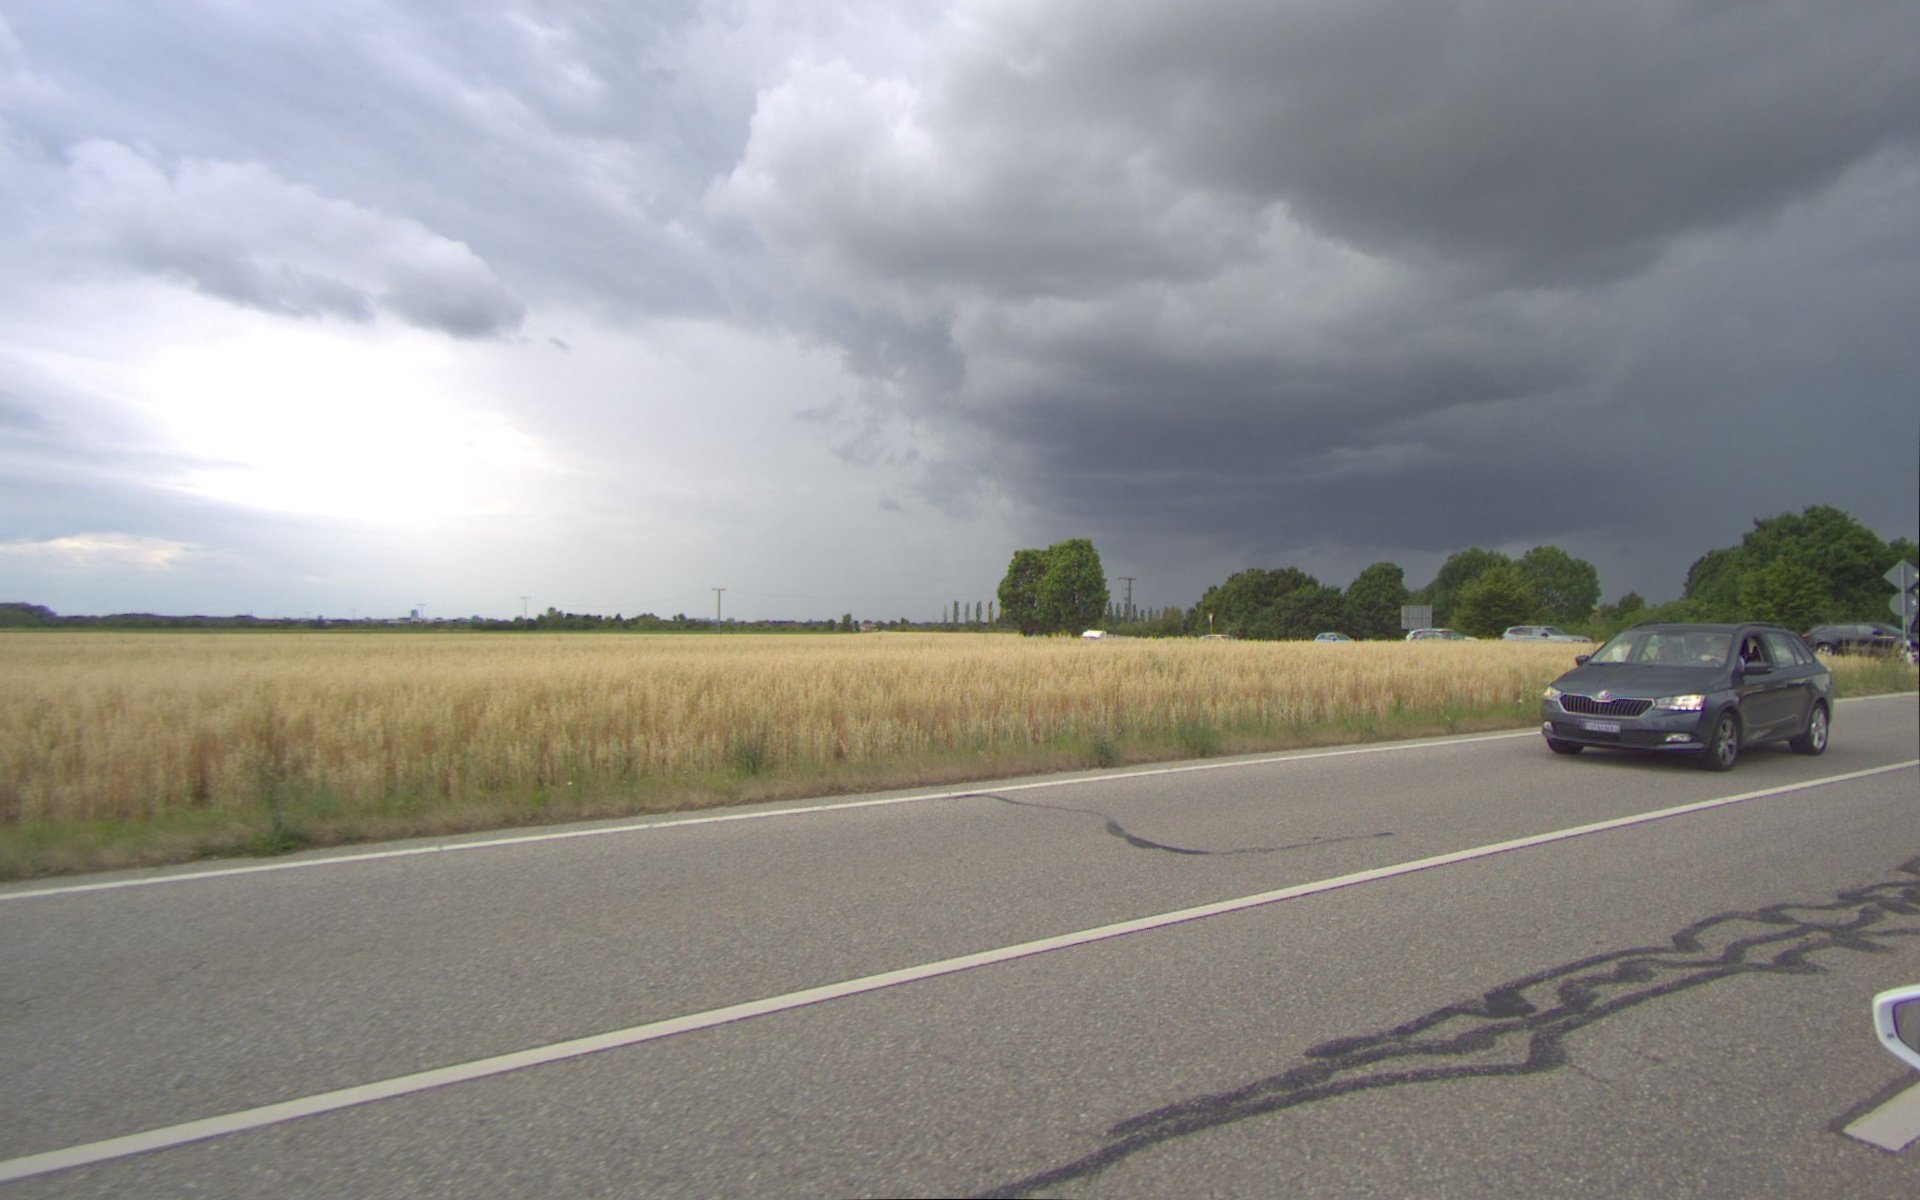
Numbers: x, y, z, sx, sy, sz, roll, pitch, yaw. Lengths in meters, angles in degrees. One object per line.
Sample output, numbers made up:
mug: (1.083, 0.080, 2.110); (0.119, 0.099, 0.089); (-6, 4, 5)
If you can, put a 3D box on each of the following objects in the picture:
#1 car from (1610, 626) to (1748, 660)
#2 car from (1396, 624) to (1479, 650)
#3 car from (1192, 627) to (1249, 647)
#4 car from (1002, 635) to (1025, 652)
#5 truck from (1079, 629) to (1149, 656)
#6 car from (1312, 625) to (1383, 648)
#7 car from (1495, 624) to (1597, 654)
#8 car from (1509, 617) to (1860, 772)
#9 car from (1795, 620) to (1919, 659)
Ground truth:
car: (35.022, 2.048, 49.131); (1.884, 1.541, 5.271); (1, -1, -24)
car: (29.228, 2.254, 61.601); (1.885, 1.502, 4.479); (1, -1, -24)
car: (20.484, 2.882, 79.125); (1.887, 1.502, 4.475); (1, -1, -27)
car: (5.731, 4.674, 108.190); (1.875, 1.703, 4.503); (0, -1, -5)
truck: (20.012, 5.408, 129.238); (2.752, 3.174, 16.283); (-1, -1, 32)
car: (26.239, 2.433, 68.195); (1.885, 1.502, 4.479); (1, -1, -24)
car: (32.069, 2.113, 55.117); (1.885, 1.537, 4.612); (1, -1, -24)
car: (8.213, 0.942, 11.323); (4.083, 1.478, 1.727); (1, -1, -30)
car: (38.377, 1.633, 42.217); (1.885, 1.552, 4.727); (1, -1, -24)
